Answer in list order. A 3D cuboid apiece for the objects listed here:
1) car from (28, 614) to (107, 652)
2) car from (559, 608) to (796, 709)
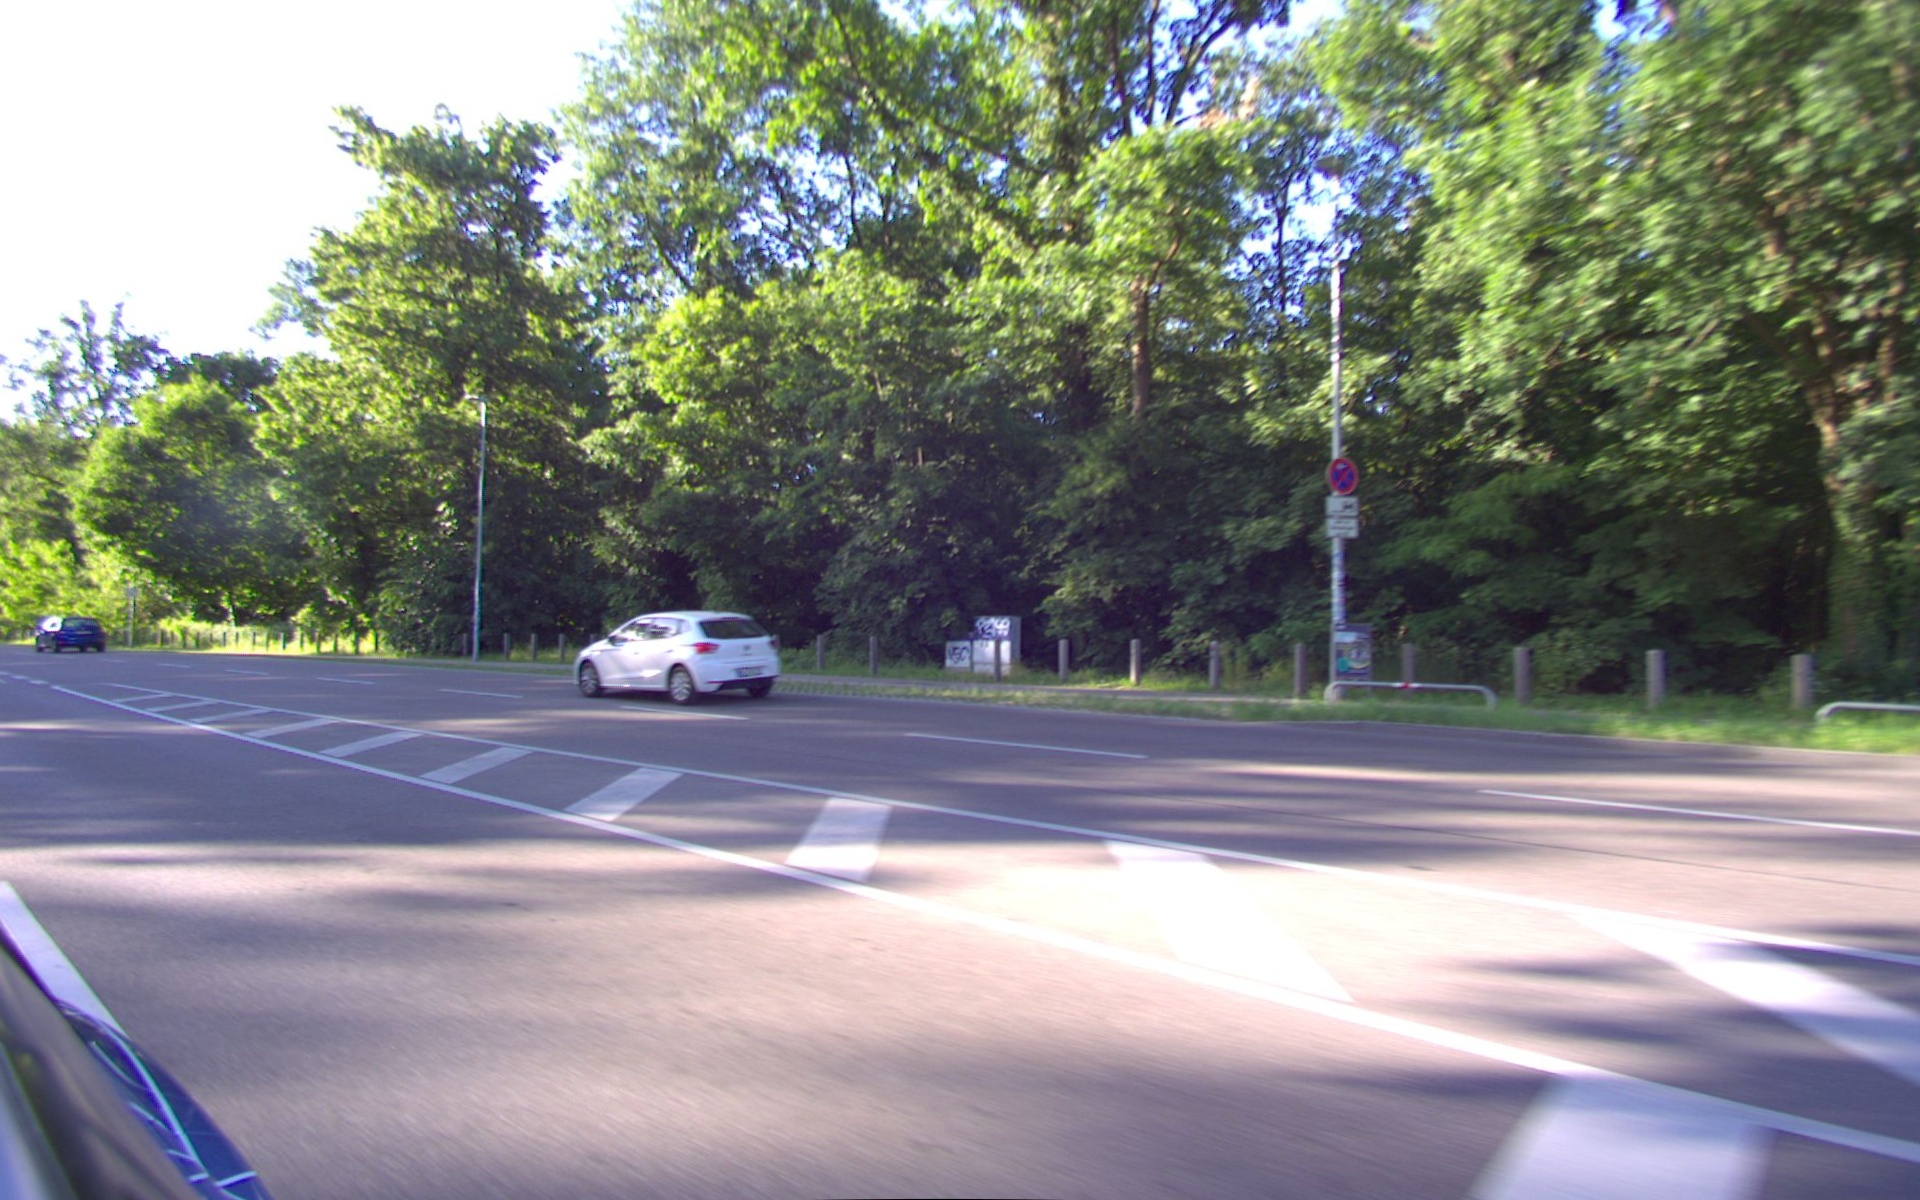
[{"bbox_3d":[-36.944,1.376,41.852,3.993,1.519,1.640,-2,-3,37],"label":"car"},{"bbox_3d":[-4.770,0.910,16.823,4.094,1.475,1.694,-1,-1,38],"label":"car"}]
